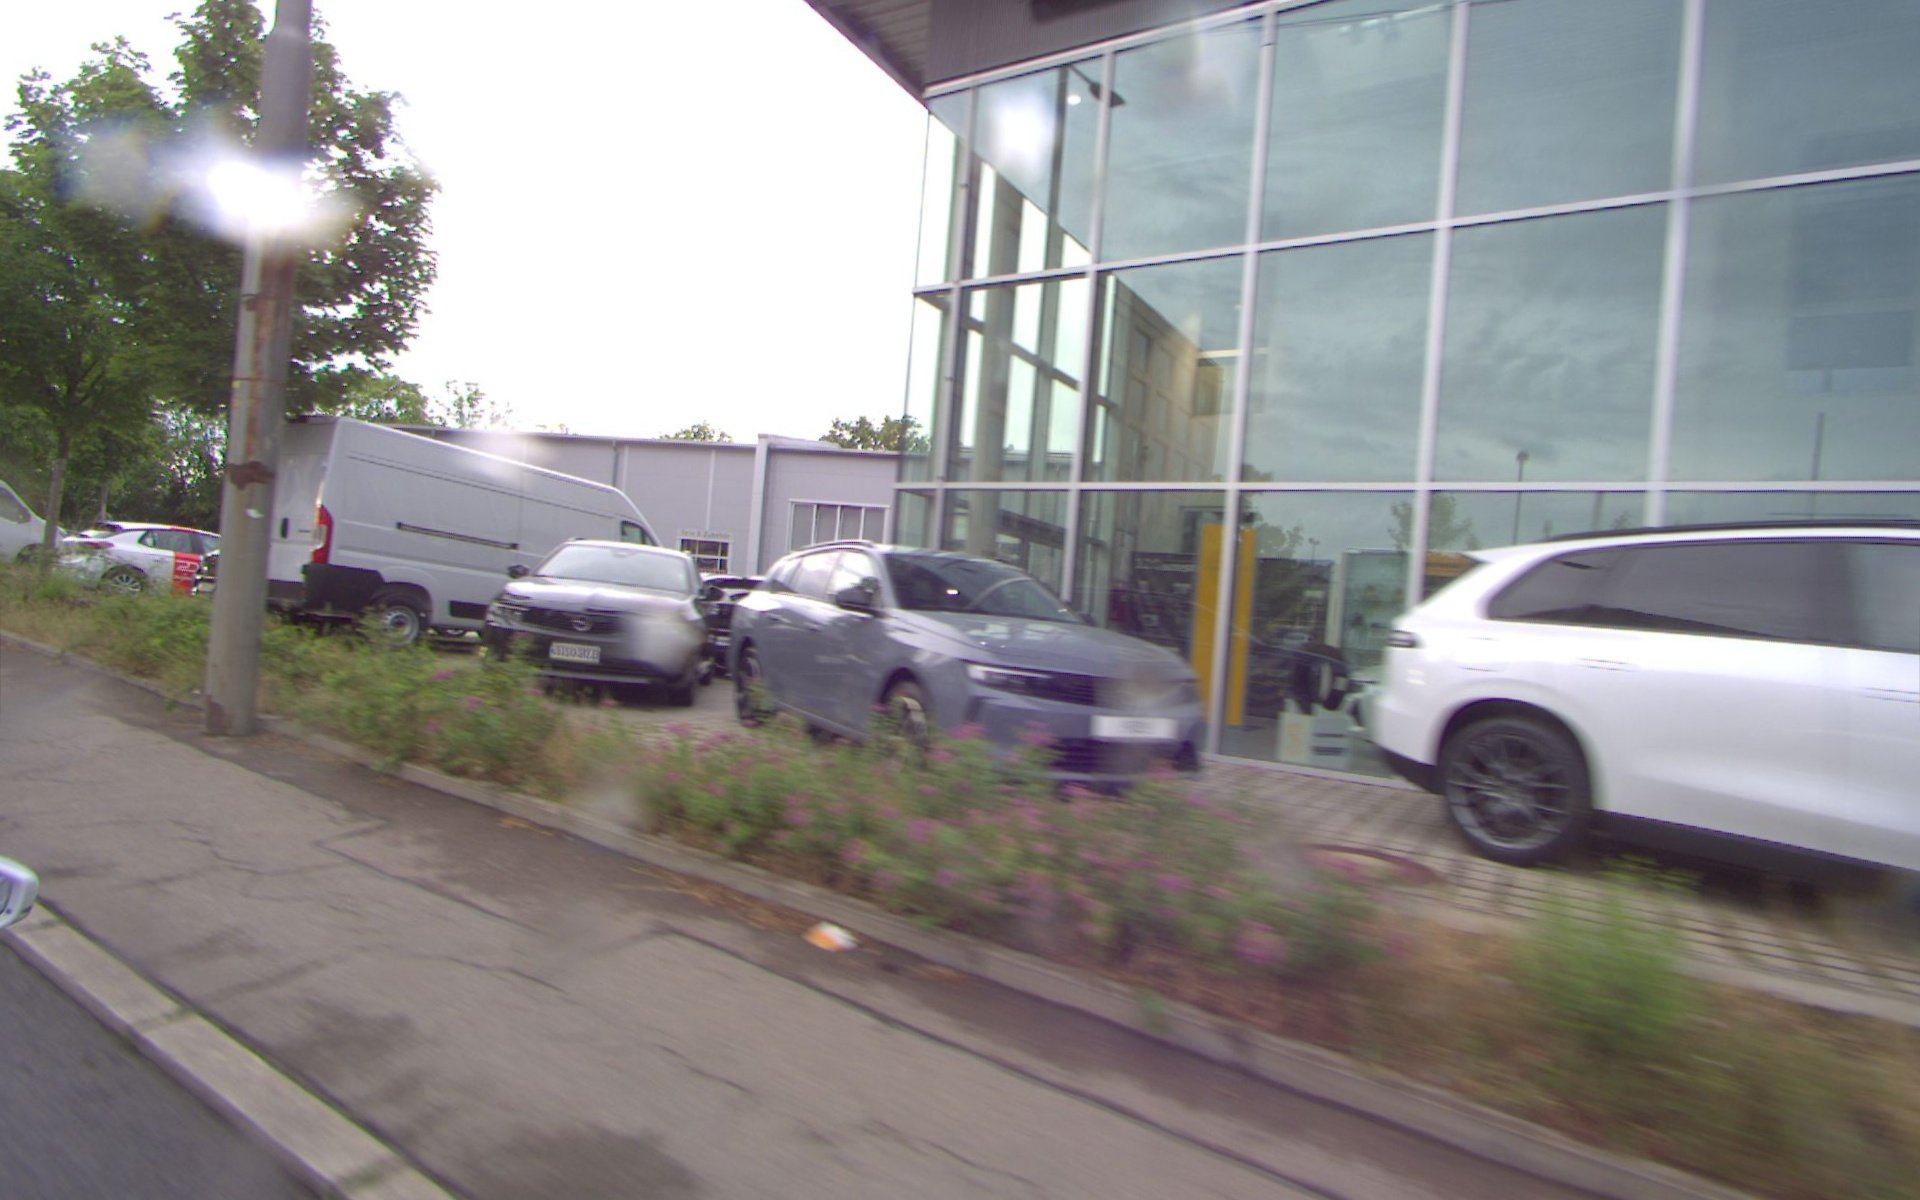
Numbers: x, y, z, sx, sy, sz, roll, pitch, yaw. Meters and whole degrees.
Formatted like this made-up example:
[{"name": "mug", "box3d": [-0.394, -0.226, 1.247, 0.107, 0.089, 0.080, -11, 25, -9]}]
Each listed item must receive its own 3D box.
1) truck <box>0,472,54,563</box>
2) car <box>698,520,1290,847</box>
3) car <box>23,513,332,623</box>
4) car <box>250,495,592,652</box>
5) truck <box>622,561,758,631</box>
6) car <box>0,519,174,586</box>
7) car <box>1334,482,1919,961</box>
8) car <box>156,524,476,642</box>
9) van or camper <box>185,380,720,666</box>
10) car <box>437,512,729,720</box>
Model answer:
[{"name": "truck", "box3d": [-24.409, -2.245, 22.804, 2.305, 2.037, 5.159, 7, -1, 29]}, {"name": "car", "box3d": [-0.205, 0.346, 6.958, 1.894, 1.473, 4.536, 5, 0, -30]}, {"name": "car", "box3d": [-14.122, -0.517, 18.390, 1.864, 1.445, 3.992, 7, -1, 32]}, {"name": "car", "box3d": [-8.023, -0.303, 15.369, 1.814, 1.867, 4.132, 3, -3, 33]}, {"name": "truck", "box3d": [-9.817, -0.086, 37.279, 2.322, 2.265, 6.276, 3, 0, 11]}, {"name": "car", "box3d": [-26.009, -1.379, 29.975, 1.604, 1.435, 3.694, 6, -2, 34]}, {"name": "car", "box3d": [4.245, 0.502, 4.305, 1.980, 1.732, 4.535, 4, 1, -35]}, {"name": "car", "box3d": [-10.375, -0.211, 16.522, 1.719, 1.447, 3.994, 4, -3, 32]}, {"name": "van or camper", "box3d": [-6.224, -0.729, 13.299, 2.313, 2.756, 5.746, 7, -1, 31]}, {"name": "car", "box3d": [-3.435, 0.107, 10.081, 1.883, 1.473, 4.508, 5, 0, -11]}]
